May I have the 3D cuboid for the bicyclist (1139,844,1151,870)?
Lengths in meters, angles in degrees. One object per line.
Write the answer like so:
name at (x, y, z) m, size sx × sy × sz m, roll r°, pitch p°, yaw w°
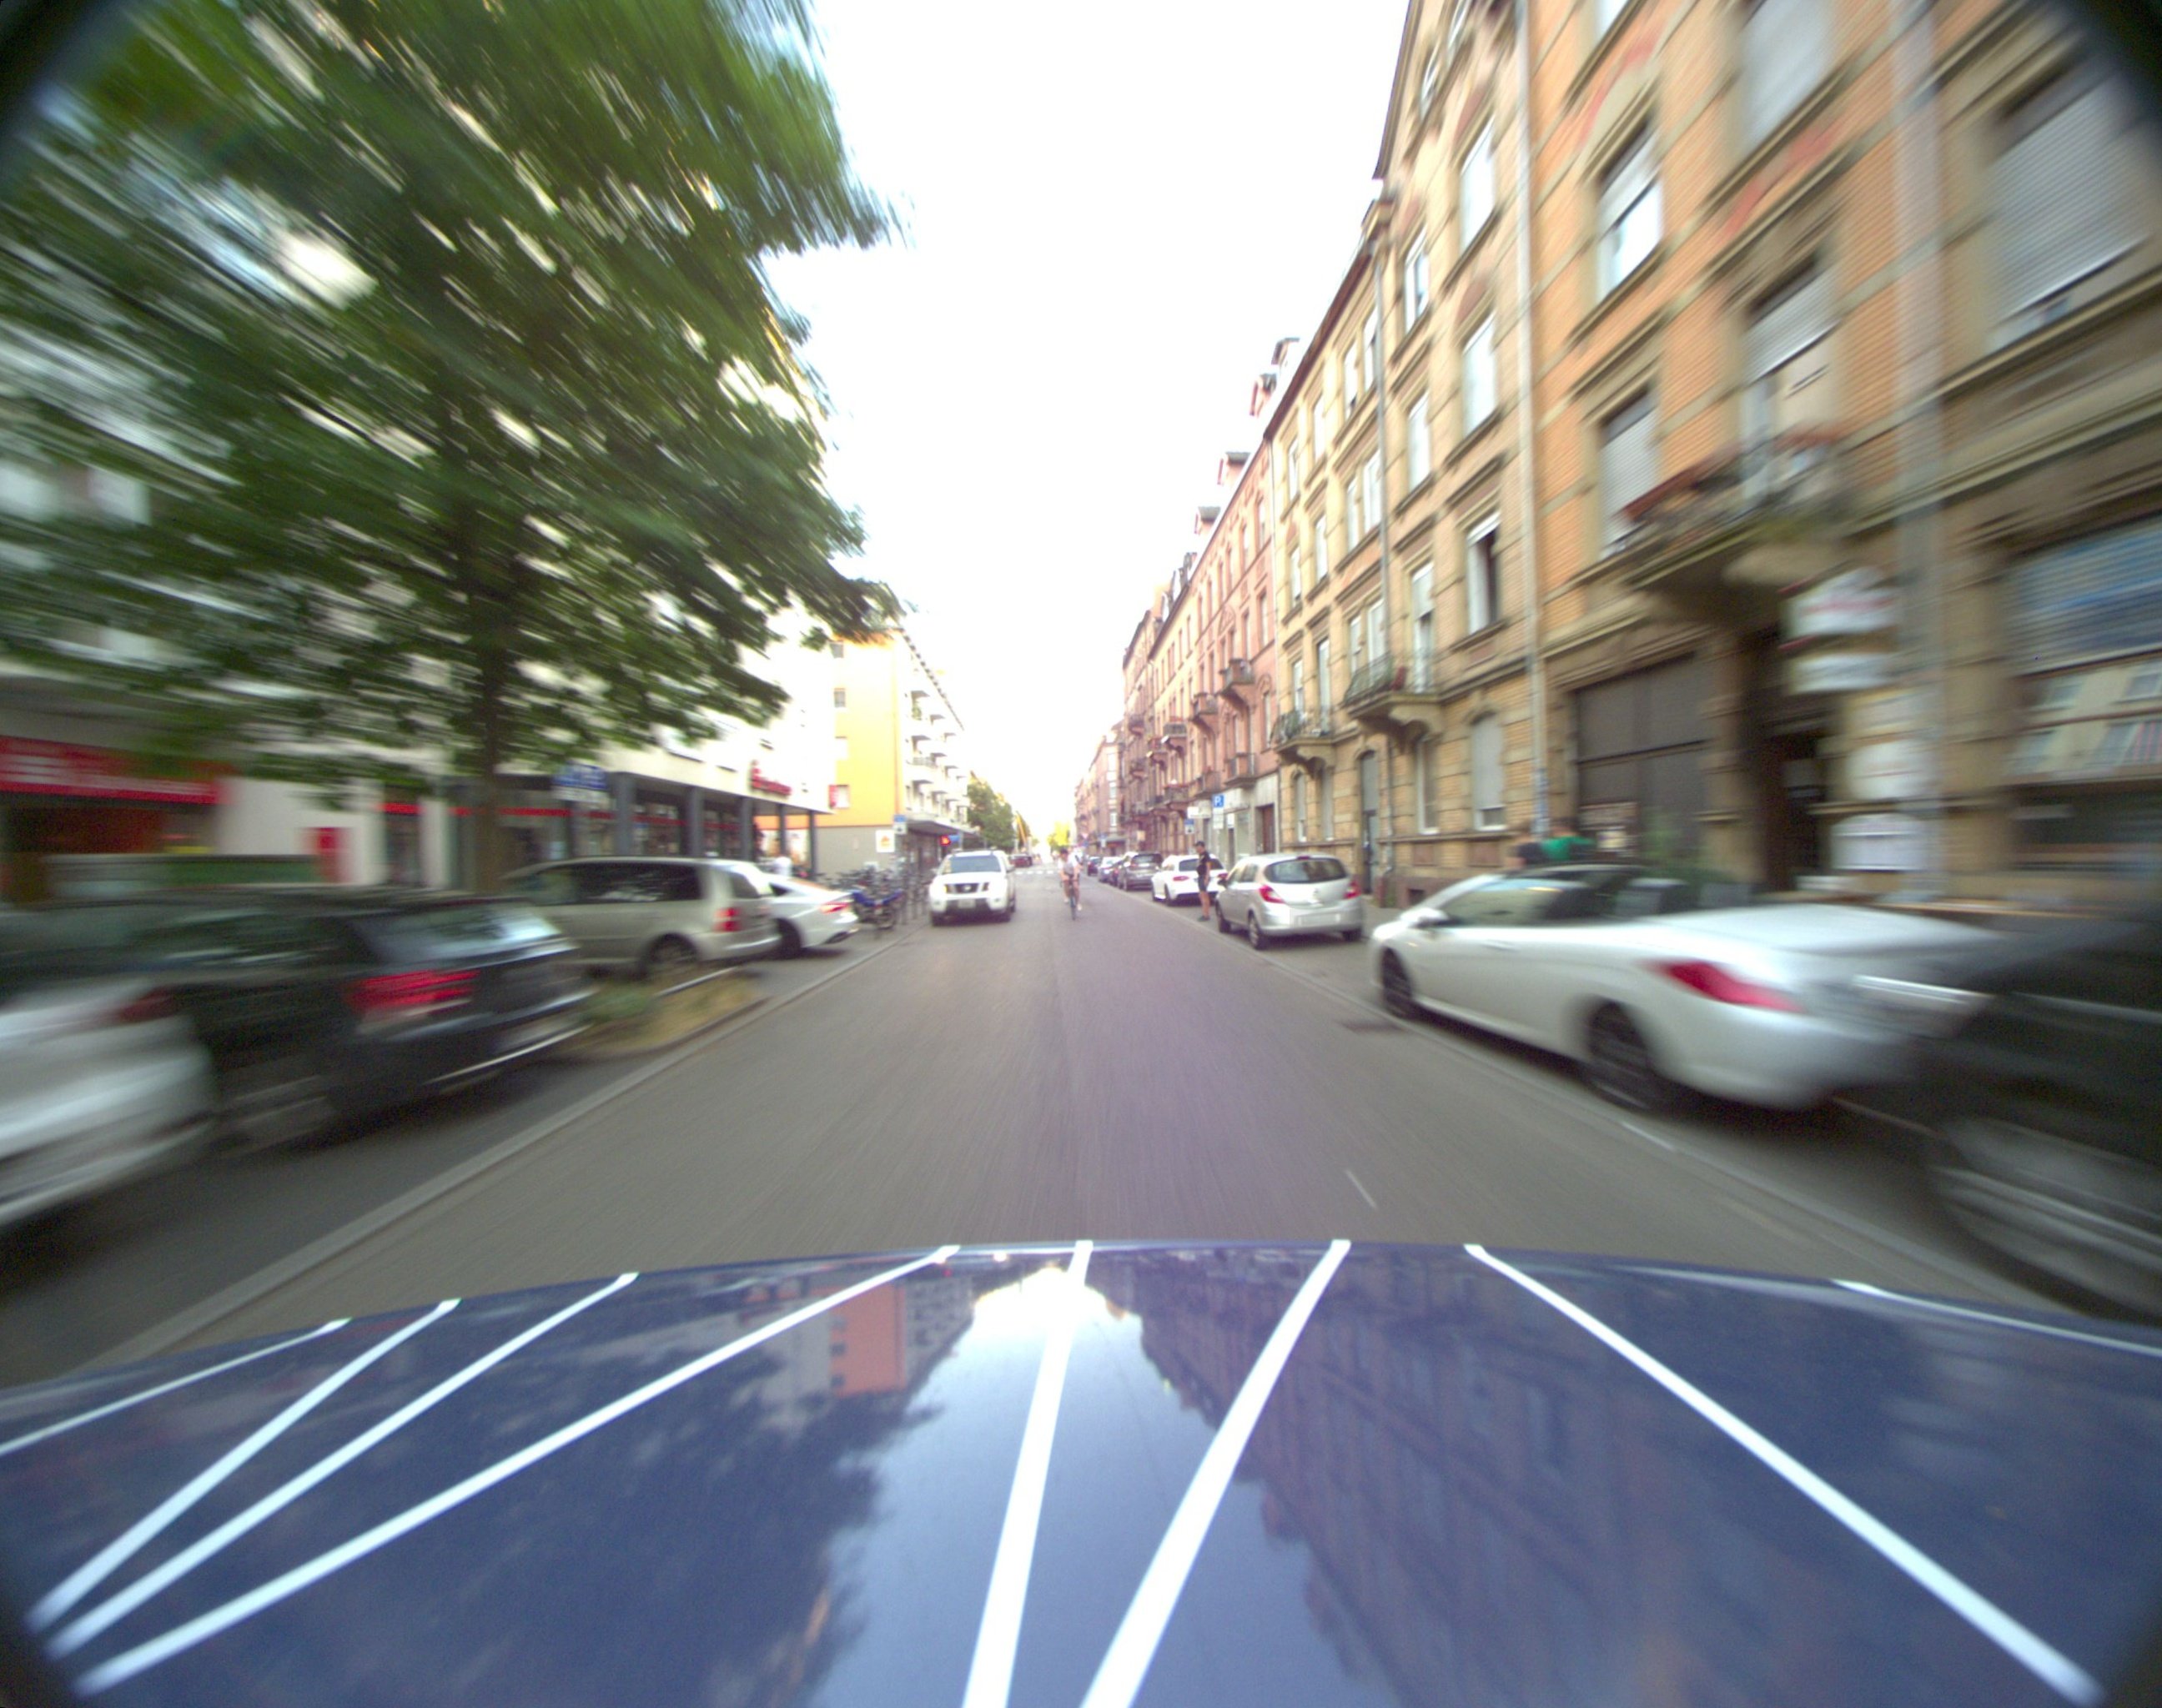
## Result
bicyclist at (4.413, 0.199, 52.270) m, size 0.709 × 1.720 × 0.843 m, roll -2°, pitch 2°, yaw 9°

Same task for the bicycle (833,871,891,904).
bicycle at (-7.230, 1.098, 25.122) m, size 1.726 × 1.048 × 0.653 m, roll 0°, pitch 1°, yaw 1°

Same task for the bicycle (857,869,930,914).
bicycle at (-5.367, 1.075, 21.781) m, size 1.873 × 1.175 × 0.743 m, roll 2°, pitch 1°, yaw 2°

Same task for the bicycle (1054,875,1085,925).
bicycle at (-0.262, 1.071, 18.203) m, size 0.658 × 1.012 × 1.917 m, roll -2°, pitch 1°, yaw 0°

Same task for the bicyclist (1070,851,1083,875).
bicyclist at (-0.308, 0.587, 50.054) m, size 0.646 × 1.611 × 0.919 m, roll 0°, pitch 0°, yaw 11°

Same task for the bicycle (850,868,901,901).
bicycle at (-7.233, 1.051, 26.820) m, size 1.729 × 1.125 × 0.578 m, roll 0°, pitch 1°, yaw -14°

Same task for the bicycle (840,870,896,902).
bicycle at (-7.223, 1.095, 25.794) m, size 1.726 × 1.048 × 0.653 m, roll 0°, pitch 1°, yaw 1°

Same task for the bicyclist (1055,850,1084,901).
bicyclist at (-0.373, 0.690, 24.341) m, size 0.794 × 1.562 × 0.826 m, roll -3°, pitch 0°, yaw -6°

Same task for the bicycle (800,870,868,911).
bicycle at (-7.008, 1.027, 21.597) m, size 1.727 × 1.111 × 0.653 m, roll 0°, pitch 1°, yaw -6°

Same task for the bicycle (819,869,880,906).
bicycle at (-7.283, 1.056, 23.960) m, size 1.726 × 1.111 × 0.653 m, roll 0°, pitch 1°, yaw 1°

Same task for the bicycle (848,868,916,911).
bicycle at (-5.913, 1.047, 22.636) m, size 1.791 × 1.175 × 0.734 m, roll 2°, pitch 1°, yaw 8°

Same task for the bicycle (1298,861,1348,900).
bicycle at (6.634, 0.709, 20.913) m, size 0.594 × 1.021 × 1.623 m, roll -3°, pitch 0°, yaw -10°

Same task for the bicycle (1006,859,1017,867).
bicycle at (-9.707, 1.297, 105.976) m, size 0.667 × 1.125 × 2.111 m, roll 0°, pitch 0°, yaw -30°

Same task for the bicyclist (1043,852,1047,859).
bicyclist at (-8.812, 0.443, 183.994) m, size 0.755 × 1.630 × 1.200 m, roll -2°, pitch 0°, yaw -8°

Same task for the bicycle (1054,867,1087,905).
bicycle at (-0.357, 0.996, 24.338) m, size 0.794 × 1.133 × 2.342 m, roll -3°, pitch 0°, yaw -6°

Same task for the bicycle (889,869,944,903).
bicycle at (-5.532, 1.069, 25.607) m, size 1.727 × 1.111 × 0.706 m, roll 0°, pitch 1°, yaw -4°

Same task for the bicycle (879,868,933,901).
bicycle at (-6.075, 1.066, 26.445) m, size 1.726 × 1.111 × 0.707 m, roll 0°, pitch 1°, yaw 1°

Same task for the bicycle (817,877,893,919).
bicycle at (-5.882, 1.141, 19.805) m, size 1.777 × 1.016 × 0.565 m, roll 2°, pitch 1°, yaw 0°

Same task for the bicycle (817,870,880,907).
bicycle at (-7.151, 1.055, 23.396) m, size 1.726 × 1.111 × 0.653 m, roll 0°, pitch 1°, yaw 1°

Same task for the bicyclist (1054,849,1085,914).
bicyclist at (-0.273, 0.640, 18.209) m, size 0.650 × 1.500 × 0.953 m, roll -2°, pitch 2°, yaw 0°

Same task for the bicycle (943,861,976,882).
bicycle at (-6.851, 0.968, 42.803) m, size 1.939 × 1.128 × 0.658 m, roll 1°, pitch 1°, yaw 35°

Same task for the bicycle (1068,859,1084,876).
bicycle at (-0.323, 0.895, 49.925) m, size 0.646 × 1.074 × 2.170 m, roll 0°, pitch 0°, yaw 11°

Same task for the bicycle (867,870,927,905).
bicycle at (-5.989, 1.097, 24.798) m, size 1.814 × 1.111 × 0.706 m, roll 0°, pitch 1°, yaw -4°

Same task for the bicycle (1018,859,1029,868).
bicycle at (-8.107, 1.315, 107.223) m, size 0.667 × 1.162 × 2.111 m, roll 0°, pitch 0°, yaw -30°

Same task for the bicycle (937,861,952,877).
bicycle at (-10.408, 1.141, 57.932) m, size 0.913 × 1.189 × 1.708 m, roll 0°, pitch 1°, yaw -16°

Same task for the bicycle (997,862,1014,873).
bicycle at (-7.062, 1.278, 71.371) m, size 1.482 × 0.996 × 0.511 m, roll 0°, pitch 1°, yaw 4°

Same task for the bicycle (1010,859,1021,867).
bicycle at (-9.129, 1.314, 106.361) m, size 0.667 × 1.125 × 2.111 m, roll 0°, pitch 0°, yaw -30°

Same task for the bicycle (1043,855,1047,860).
bicycle at (-8.789, 0.946, 183.994) m, size 0.755 × 1.124 × 1.975 m, roll -2°, pitch 0°, yaw -8°

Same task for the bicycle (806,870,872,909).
bicycle at (-7.093, 1.035, 22.315) m, size 1.727 × 1.111 × 0.653 m, roll 0°, pitch 1°, yaw -6°

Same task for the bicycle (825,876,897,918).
bicycle at (-5.895, 1.139, 20.424) m, size 1.724 × 1.025 × 0.667 m, roll 2°, pitch 1°, yaw 0°

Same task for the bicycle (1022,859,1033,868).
bicycle at (-7.534, 1.313, 107.123) m, size 0.667 × 1.162 × 2.111 m, roll 0°, pitch 0°, yaw -30°
